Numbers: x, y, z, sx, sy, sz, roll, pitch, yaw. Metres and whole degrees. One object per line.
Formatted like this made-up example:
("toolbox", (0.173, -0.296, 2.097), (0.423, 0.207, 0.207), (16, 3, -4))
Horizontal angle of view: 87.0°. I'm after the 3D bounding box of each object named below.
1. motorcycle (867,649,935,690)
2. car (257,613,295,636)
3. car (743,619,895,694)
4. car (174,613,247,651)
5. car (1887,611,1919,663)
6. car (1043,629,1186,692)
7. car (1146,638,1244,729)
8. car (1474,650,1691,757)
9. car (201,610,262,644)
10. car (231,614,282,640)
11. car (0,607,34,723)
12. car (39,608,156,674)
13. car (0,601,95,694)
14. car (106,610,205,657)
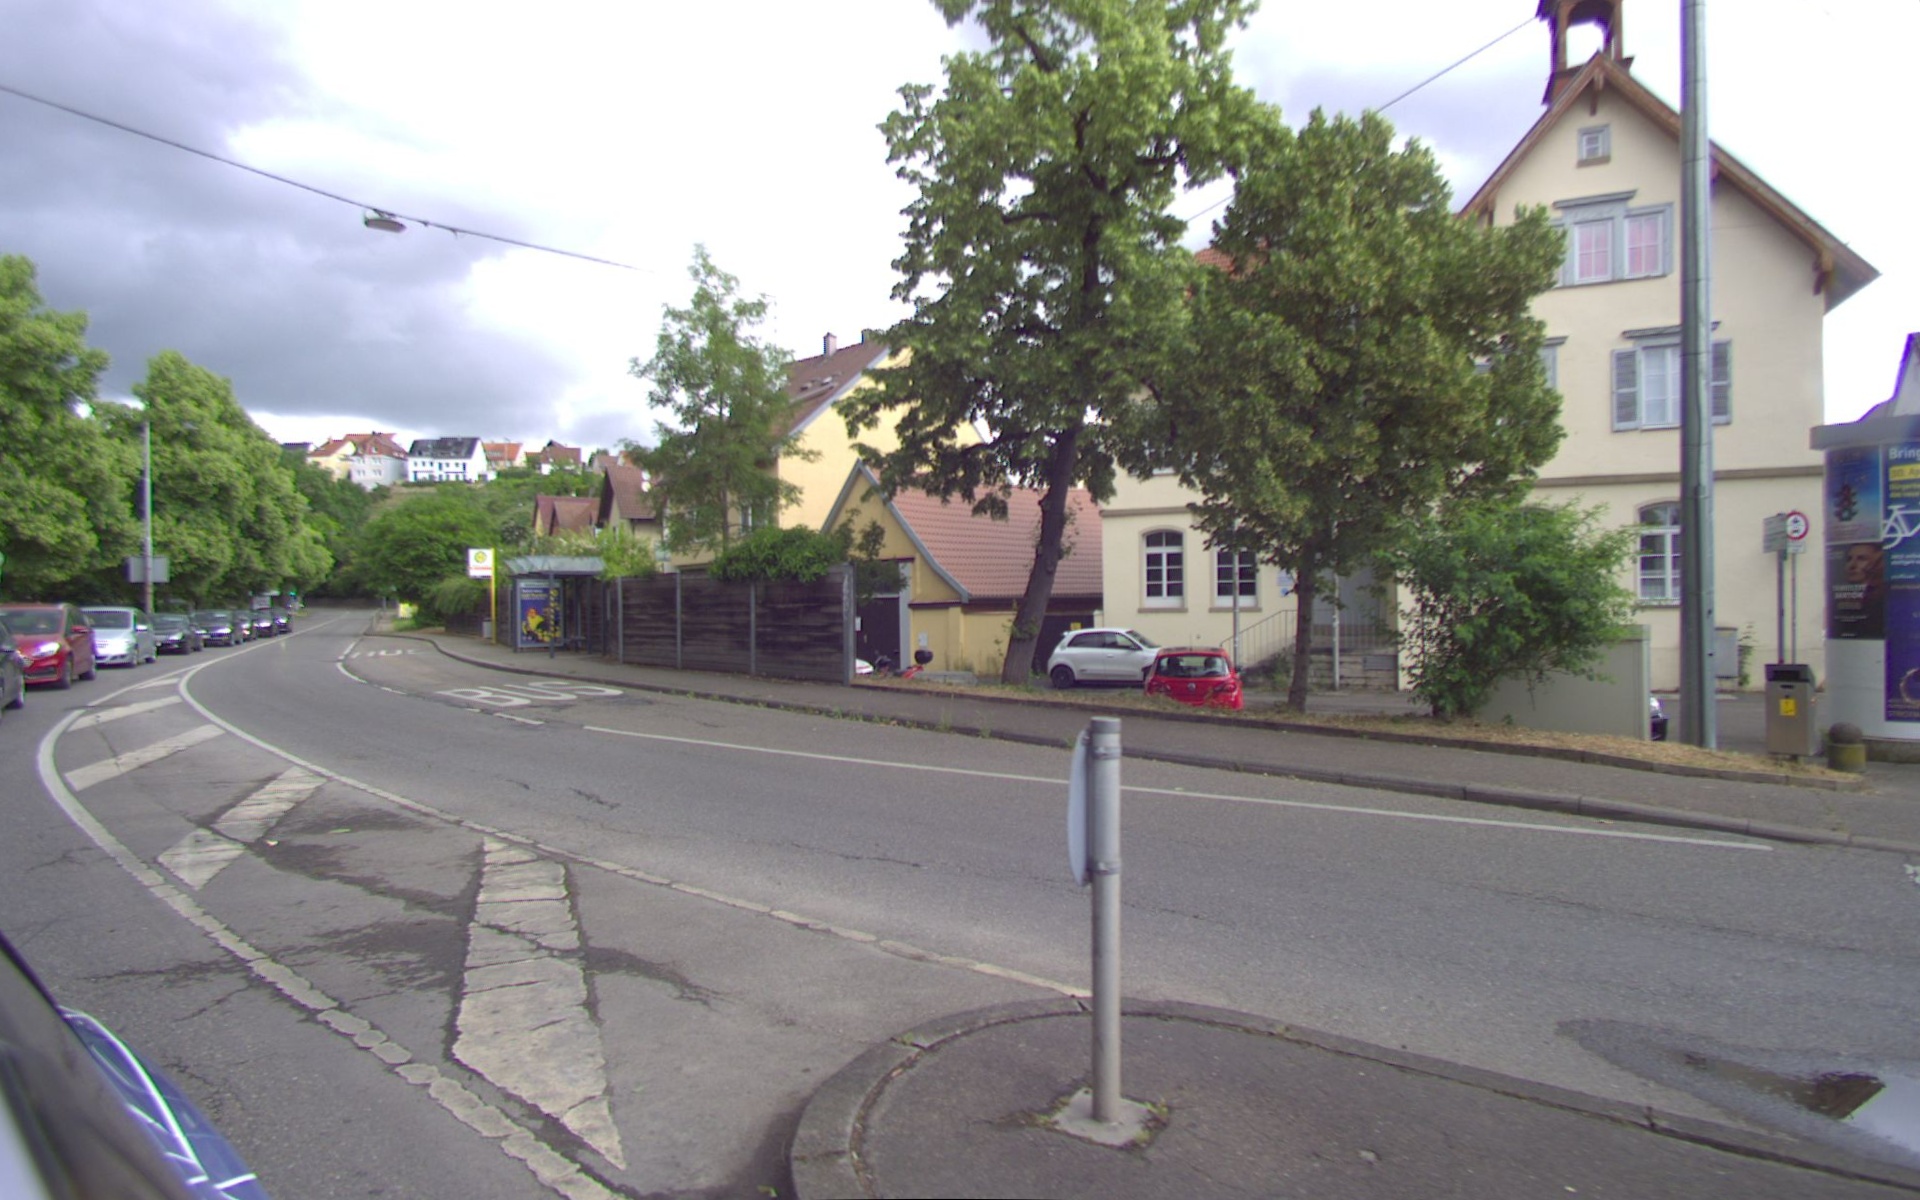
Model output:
("motorcycle", (-1.301, 1.539, 22.475), (1.559, 0.830, 0.419), (1, -1, -40))
("car", (-38.642, 1.359, 57.234), (1.396, 1.259, 3.306), (0, -1, -27))
("car", (-3.594, 1.335, 25.314), (1.872, 1.640, 4.006), (0, 0, -41))
("car", (-29.766, 1.222, 40.280), (1.669, 1.422, 3.995), (0, -1, -27))
("car", (29.636, 1.111, 30.065), (1.814, 1.526, 3.644), (0, 0, 20))
("car", (4.055, 1.552, 26.551), (3.457, 1.503, 1.642), (0, -1, 21))
("car", (4.226, 1.442, 18.499), (1.583, 1.363, 3.616), (0, -1, 11))
("car", (8.864, 1.413, 14.739), (1.467, 1.320, 3.389), (-1, -2, 9))
("car", (-33.161, 1.211, 46.146), (1.679, 1.457, 3.879), (0, -1, -27))
("car", (-35.769, 1.338, 51.538), (1.617, 1.278, 3.637), (0, -1, -27))
("car", (-14.566, 0.868, 14.425), (1.704, 1.532, 4.008), (1, -1, -38))
("car", (-22.689, 1.020, 26.773), (1.754, 1.580, 4.012), (1, -1, -32))
("car", (-18.252, 0.854, 19.740), (1.648, 1.654, 4.111), (1, -1, -34))
("car", (-27.113, 1.081, 34.251), (1.823, 1.468, 4.013), (0, -1, -27))
